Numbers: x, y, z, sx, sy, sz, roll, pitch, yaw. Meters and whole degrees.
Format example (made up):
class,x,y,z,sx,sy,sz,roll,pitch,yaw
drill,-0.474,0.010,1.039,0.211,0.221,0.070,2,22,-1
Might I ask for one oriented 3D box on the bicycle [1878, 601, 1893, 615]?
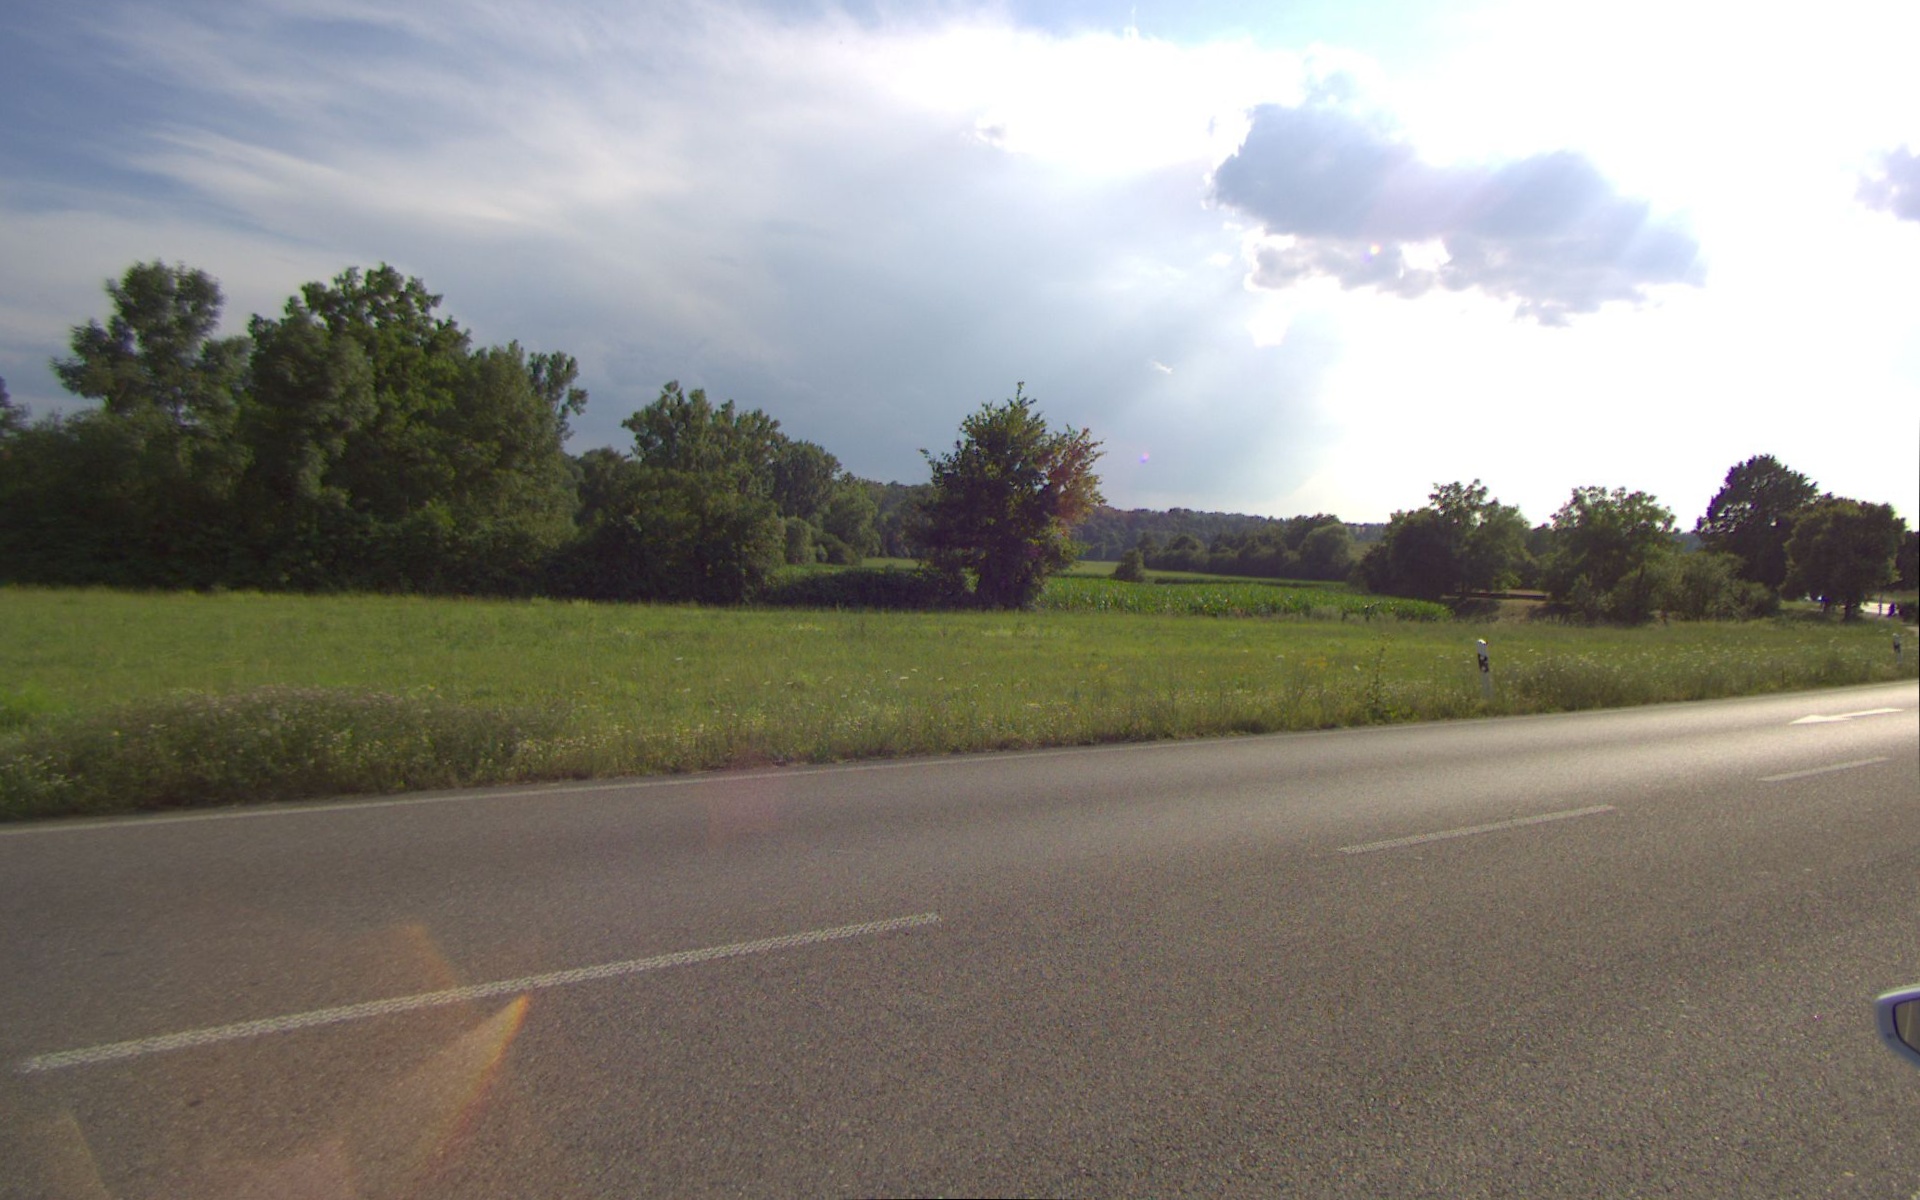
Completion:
class,x,y,z,sx,sy,sz,roll,pitch,yaw
bicycle,77.358,0.647,83.953,1.656,1.089,0.630,1,2,-39
